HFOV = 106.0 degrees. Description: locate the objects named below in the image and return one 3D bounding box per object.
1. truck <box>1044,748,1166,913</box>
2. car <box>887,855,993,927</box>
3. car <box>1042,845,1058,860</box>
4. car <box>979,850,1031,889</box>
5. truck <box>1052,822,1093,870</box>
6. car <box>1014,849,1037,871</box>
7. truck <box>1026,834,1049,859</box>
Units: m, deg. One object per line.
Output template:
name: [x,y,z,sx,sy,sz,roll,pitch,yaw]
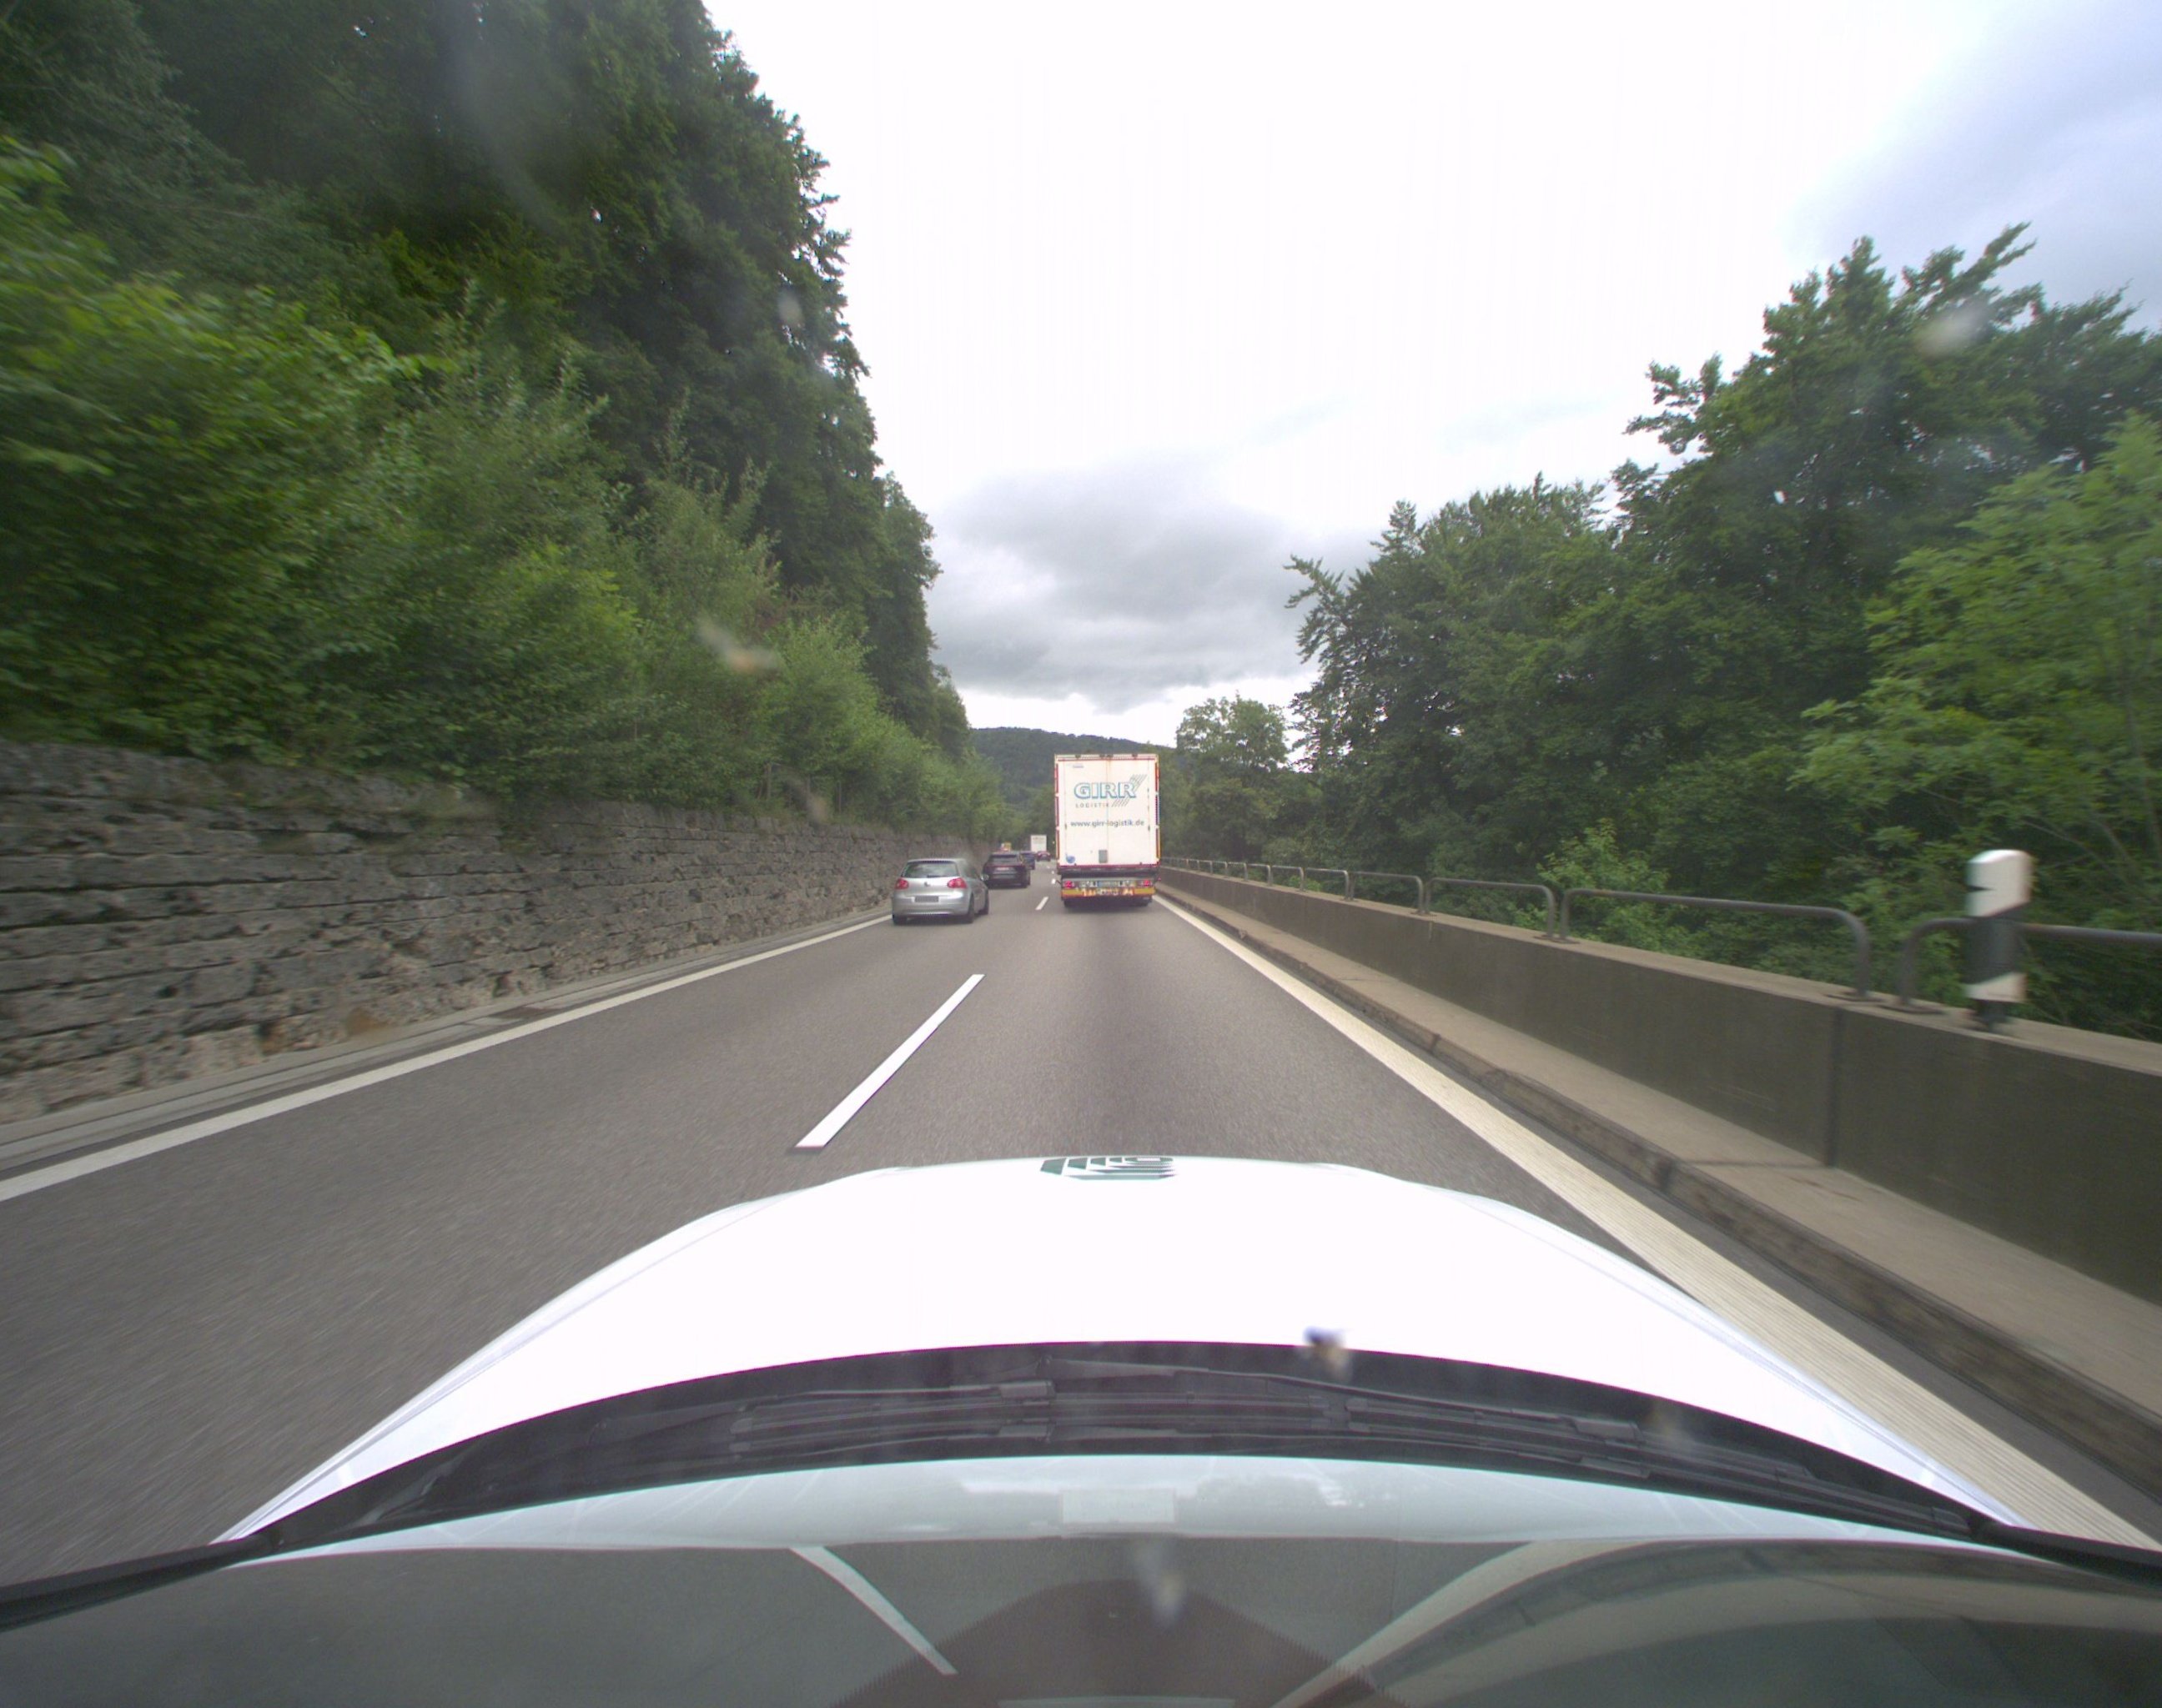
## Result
truck: [0.693,-0.574,24.302,2.898,3.960,9.281,-1,0,1]
car: [-3.188,0.780,19.125,1.723,1.486,4.000,-1,0,1]
car: [-4.311,-0.134,112.751,1.986,2.014,4.001,0,-1,1]
car: [-3.322,0.648,36.333,1.911,1.595,4.178,-1,0,0]
truck: [-0.791,-0.590,66.395,2.483,3.571,9.289,-1,0,-6]
car: [-4.843,0.484,71.295,1.989,1.849,3.995,0,0,-3]
truck: [-7.187,-1.183,134.331,3.505,3.847,11.757,0,-1,-4]
